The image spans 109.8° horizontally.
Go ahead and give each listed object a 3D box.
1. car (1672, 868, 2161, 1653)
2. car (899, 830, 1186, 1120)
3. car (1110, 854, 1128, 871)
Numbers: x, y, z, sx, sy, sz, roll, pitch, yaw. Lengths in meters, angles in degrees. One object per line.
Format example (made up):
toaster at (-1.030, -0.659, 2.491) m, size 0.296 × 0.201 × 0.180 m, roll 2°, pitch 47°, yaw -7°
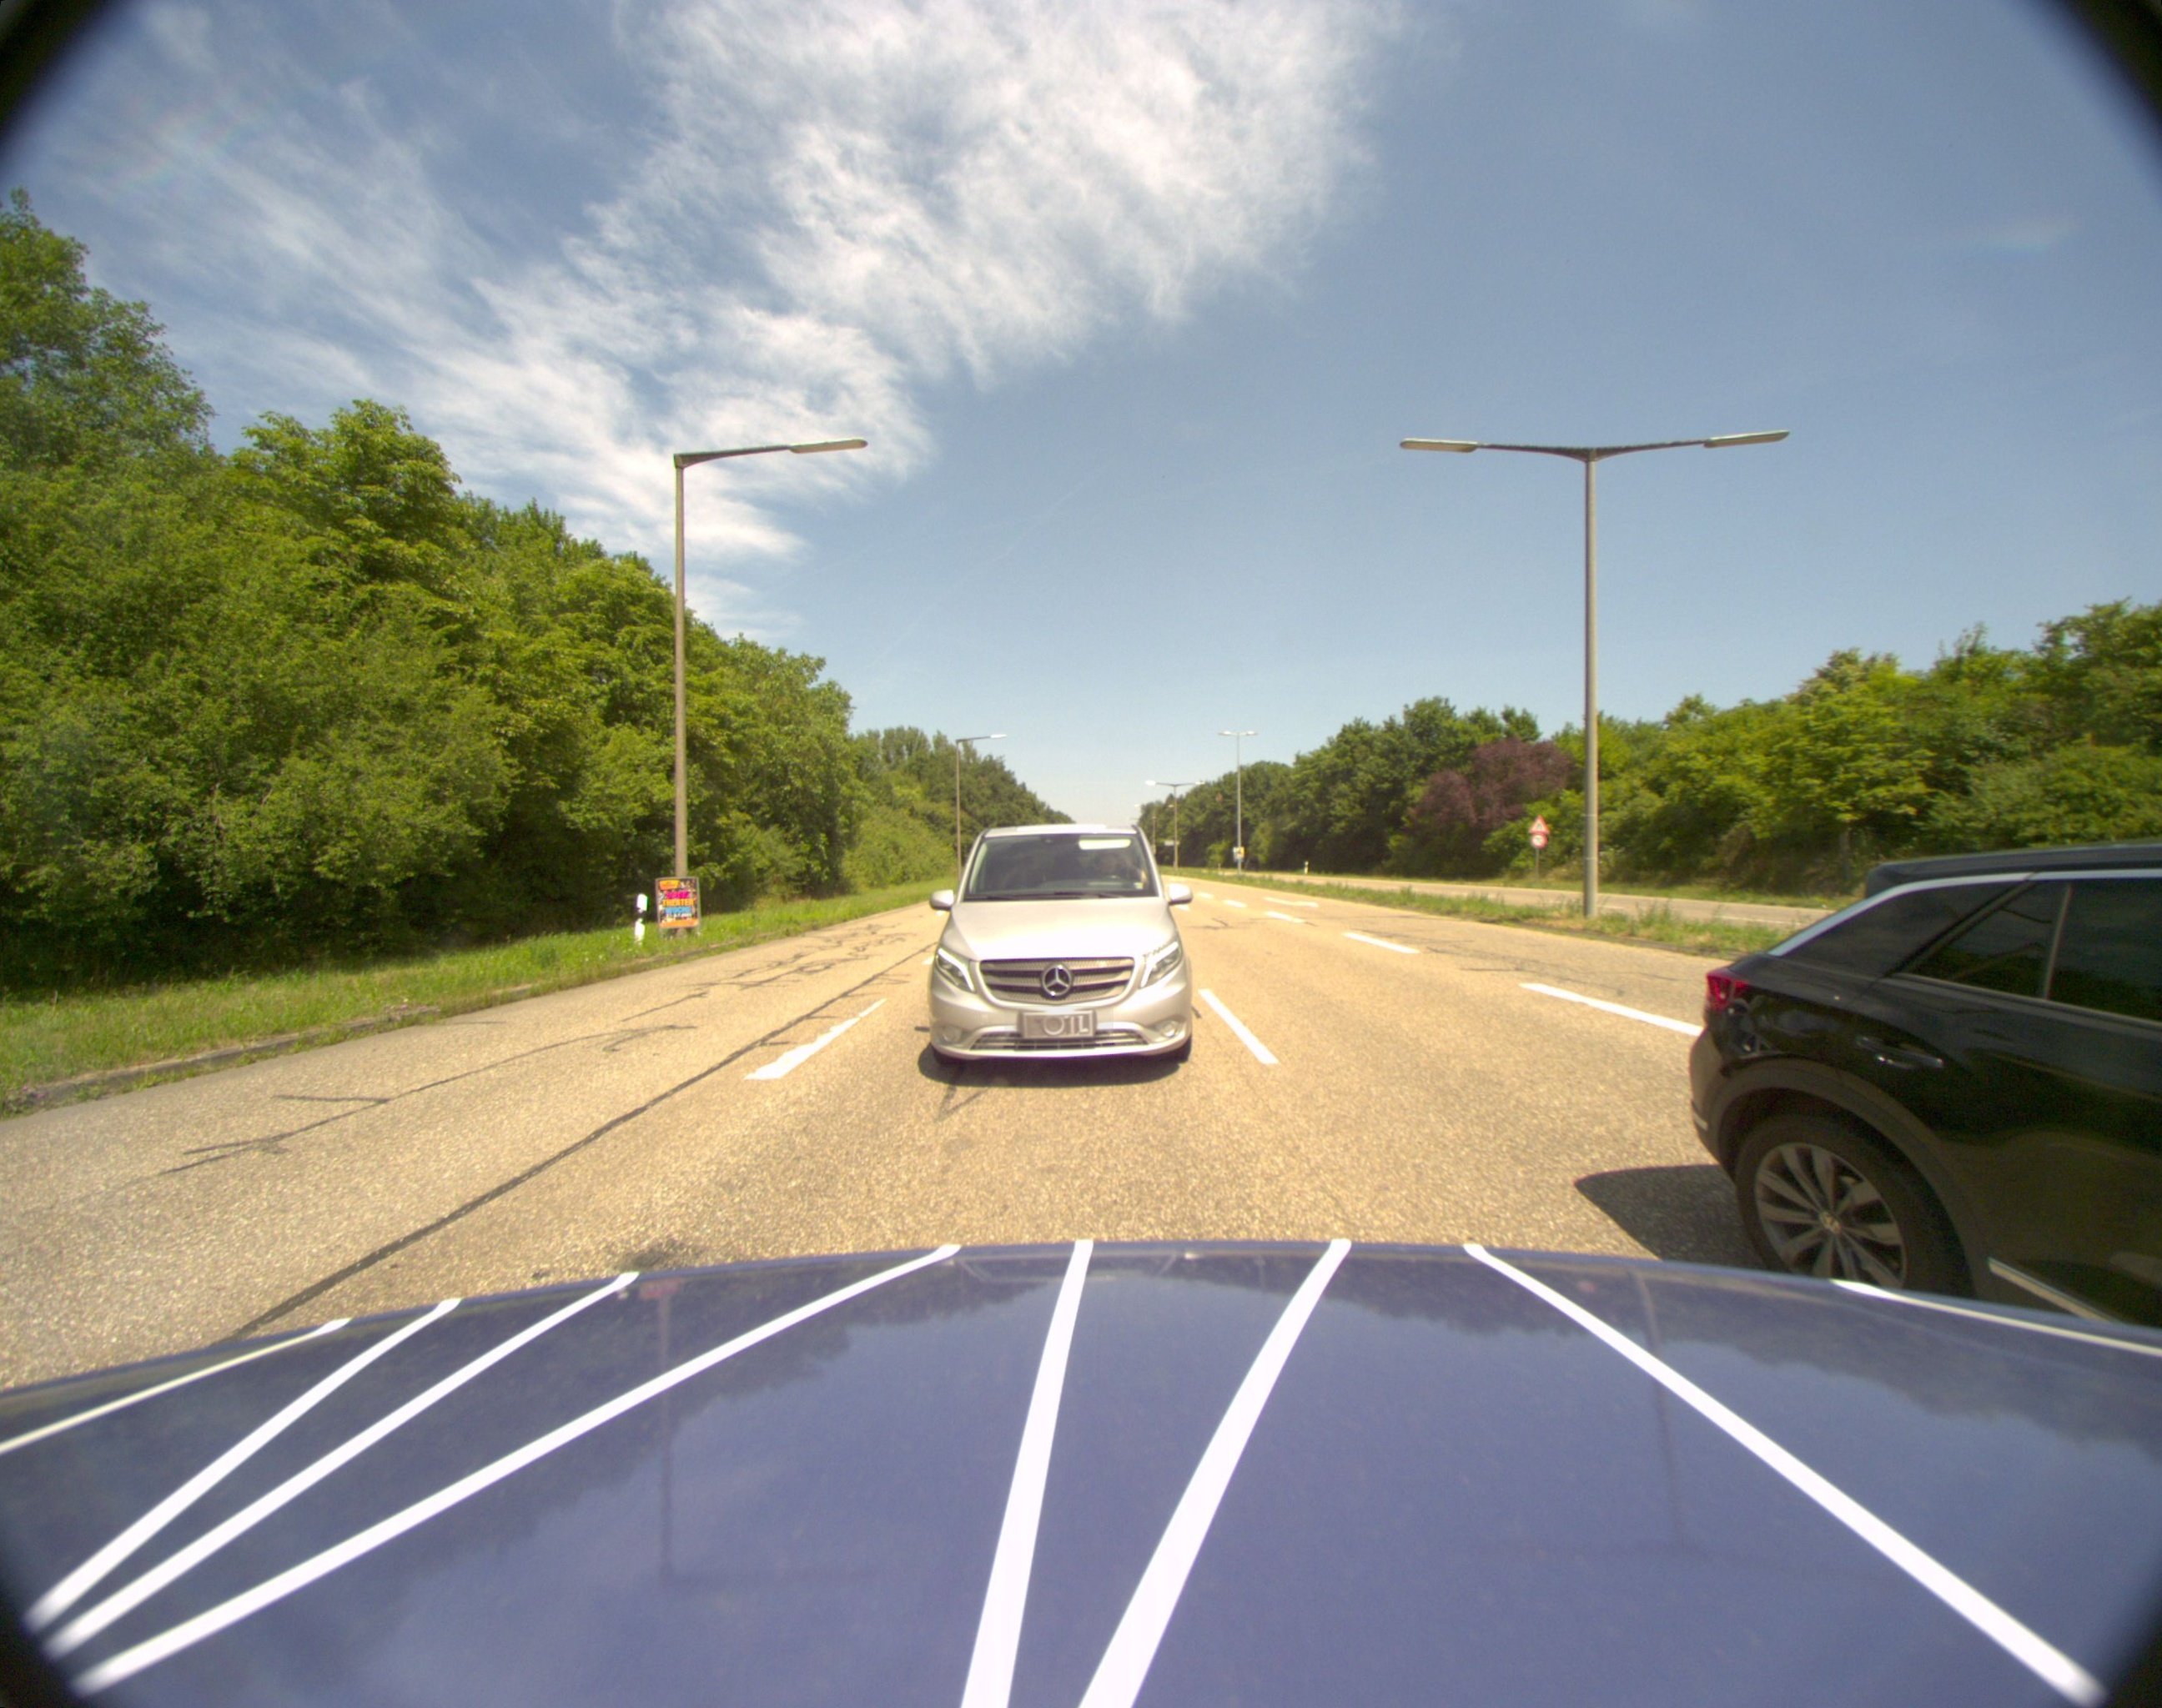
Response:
car at (3.038, 0.856, 0.812) m, size 1.739 × 1.503 × 3.970 m, roll -2°, pitch 1°, yaw 1°
car at (-0.210, 0.773, 7.266) m, size 1.764 × 1.794 × 4.855 m, roll -2°, pitch 0°, yaw 1°
car at (4.368, 0.967, 87.956) m, size 1.736 × 1.815 × 4.321 m, roll -1°, pitch 0°, yaw -1°
